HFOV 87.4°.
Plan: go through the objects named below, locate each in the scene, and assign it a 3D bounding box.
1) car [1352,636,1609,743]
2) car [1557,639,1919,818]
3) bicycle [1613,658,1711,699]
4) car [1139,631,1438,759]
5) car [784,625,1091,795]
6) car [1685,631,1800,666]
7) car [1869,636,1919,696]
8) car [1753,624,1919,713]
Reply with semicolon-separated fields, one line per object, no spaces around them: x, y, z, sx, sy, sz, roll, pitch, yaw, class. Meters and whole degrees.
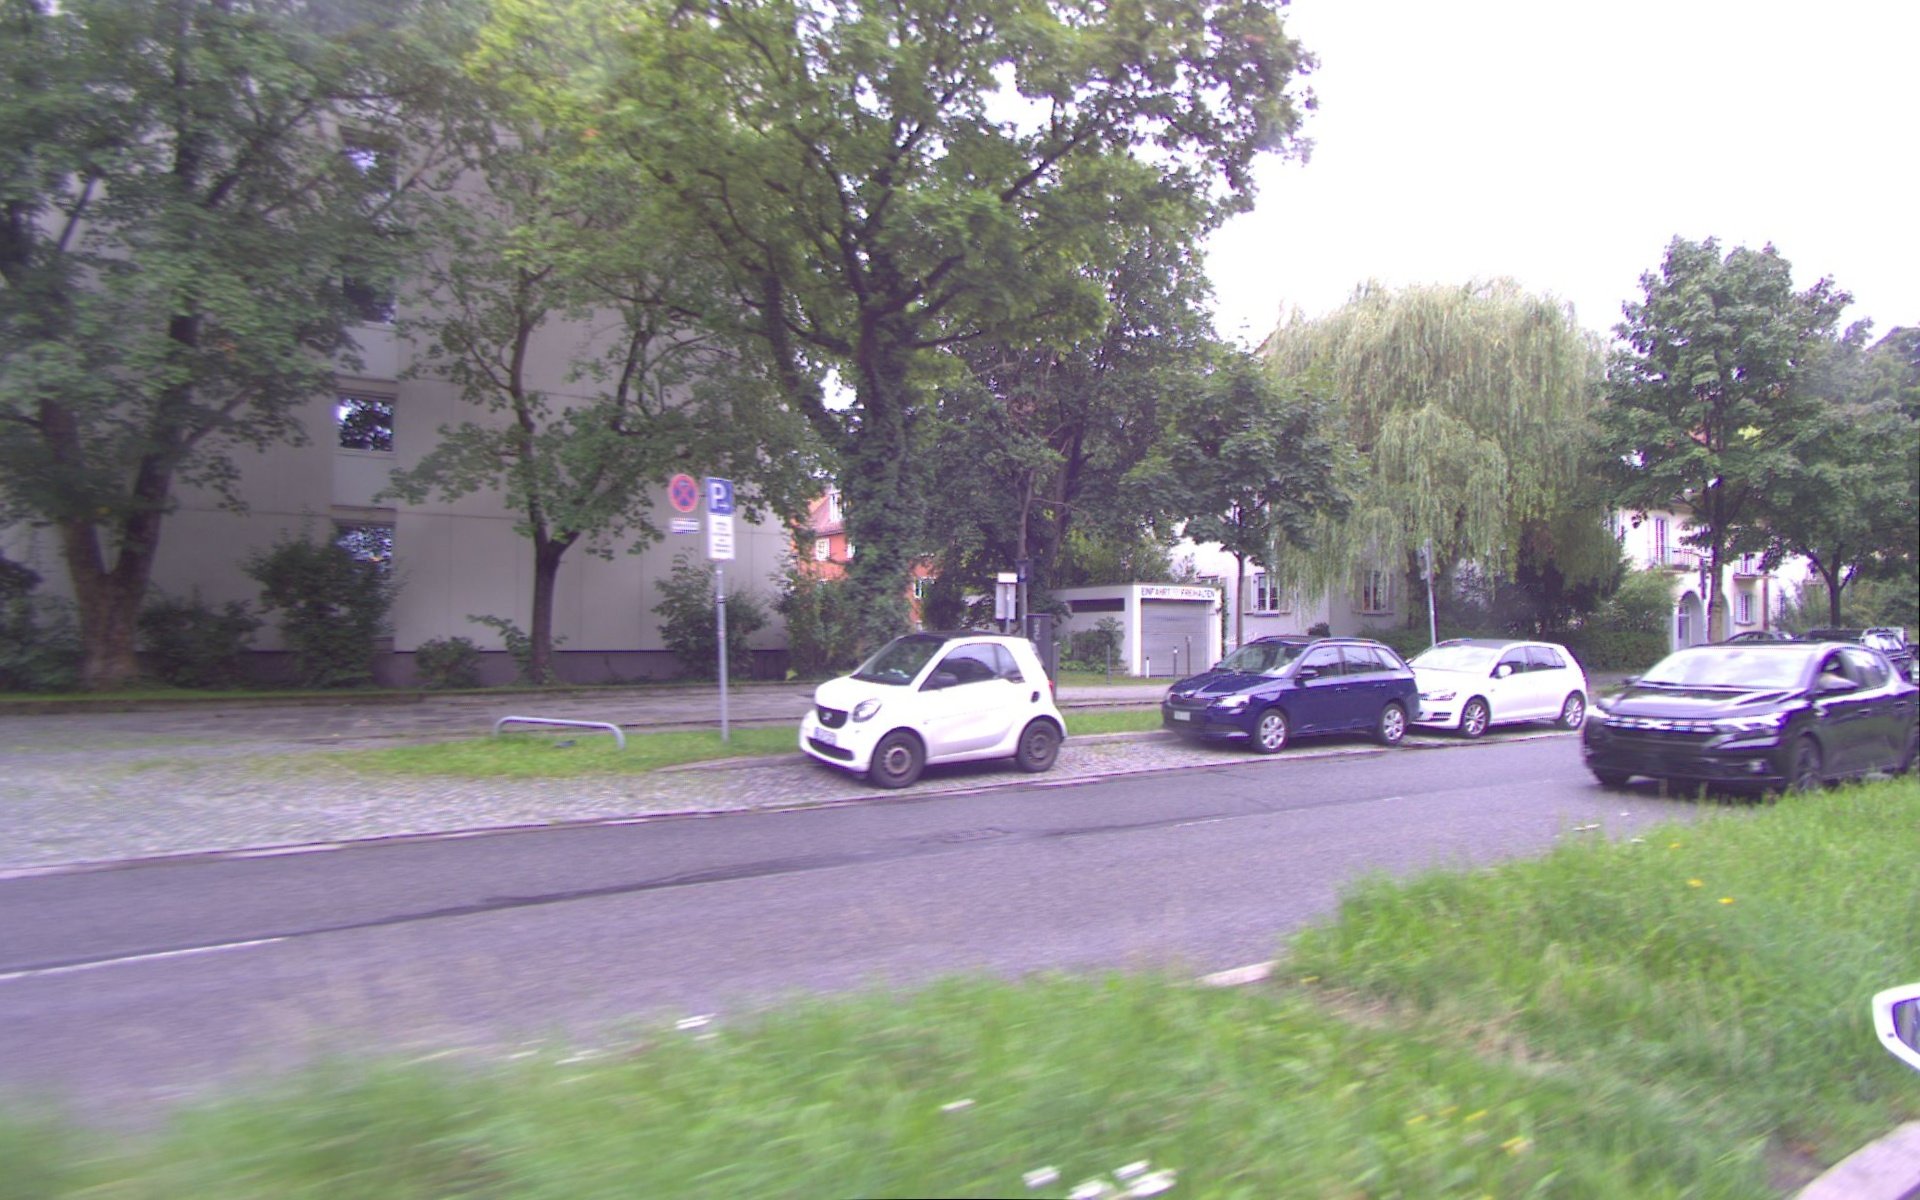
8.579;1.369;16.469;4.268;1.462;1.667;1;1;-30;car
8.077;1.134;10.123;4.165;1.459;1.731;1;-2;-30;car
16.569;1.842;23.731;1.387;0.840;1.445;1;0;-30;bicycle
4.702;1.236;14.242;4.165;1.495;1.666;1;1;-30;car
-0.242;1.128;11.377;3.045;1.586;1.681;1;1;-32;car
34.175;2.083;43.954;1.653;1.481;3.614;1;-2;-32;car
26.192;1.744;26.772;4.324;1.464;1.658;1;1;-30;car
20.456;1.491;23.296;5.005;1.787;1.785;1;1;-34;car
